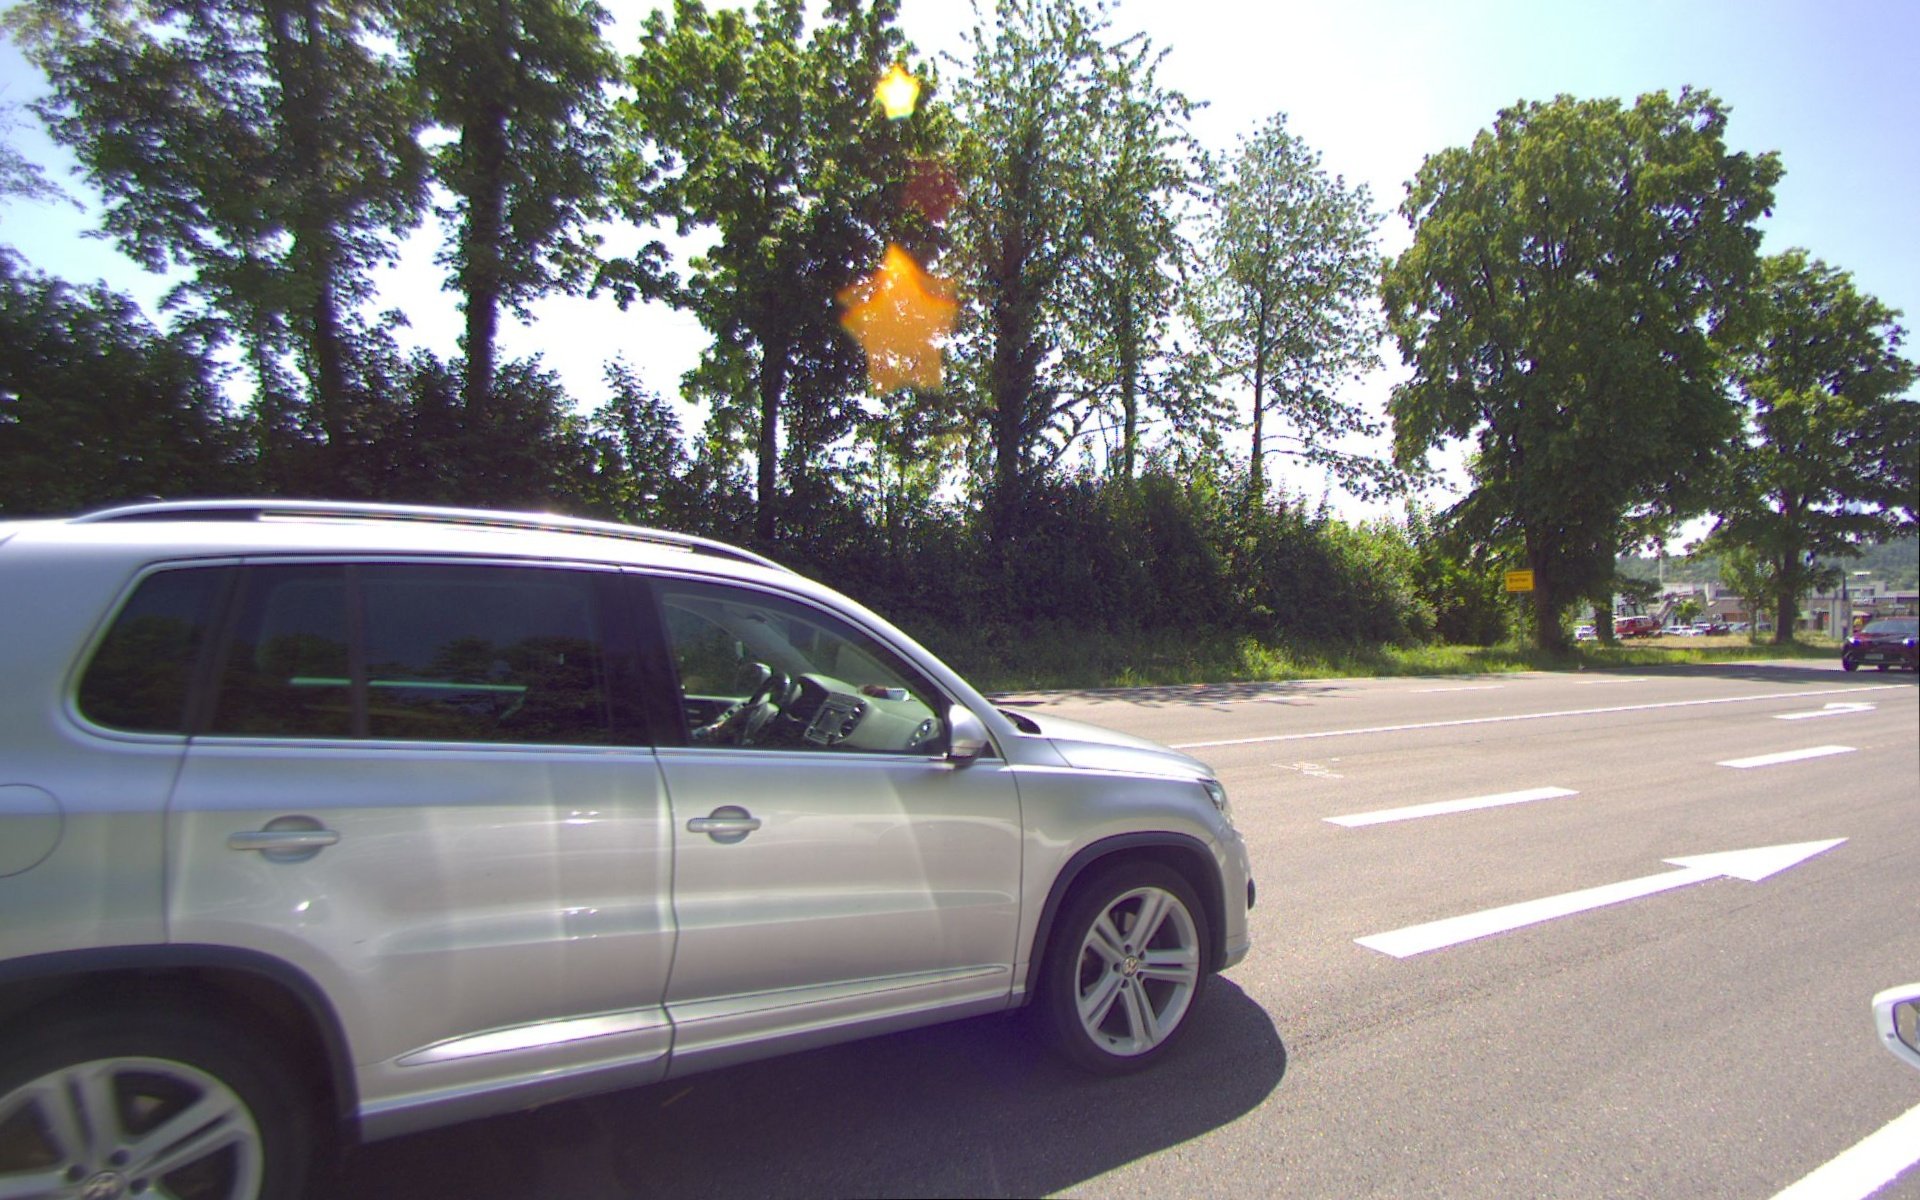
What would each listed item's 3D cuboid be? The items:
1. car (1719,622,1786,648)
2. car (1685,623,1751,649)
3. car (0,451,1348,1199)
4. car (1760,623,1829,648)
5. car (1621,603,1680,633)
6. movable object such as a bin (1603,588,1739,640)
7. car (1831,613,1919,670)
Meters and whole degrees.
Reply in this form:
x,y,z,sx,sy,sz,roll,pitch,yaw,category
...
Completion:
x,y,z,sx,sy,sz,roll,pitch,yaw,category
55.610,2.432,70.574,1.803,1.639,4.002,1,0,7,car
53.356,2.485,70.798,1.959,1.673,4.002,1,0,7,car
-0.892,0.587,3.315,4.241,1.692,1.796,1,1,-30,car
58.304,2.458,70.234,1.803,1.639,4.002,1,0,7,car
49.407,1.243,71.923,1.959,2.040,4.002,1,0,10,car
47.103,0.899,66.746,6.654,3.342,3.054,0,0,10,movable object such as a bin
27.075,1.165,29.023,3.723,1.529,1.893,1,0,-32,car
